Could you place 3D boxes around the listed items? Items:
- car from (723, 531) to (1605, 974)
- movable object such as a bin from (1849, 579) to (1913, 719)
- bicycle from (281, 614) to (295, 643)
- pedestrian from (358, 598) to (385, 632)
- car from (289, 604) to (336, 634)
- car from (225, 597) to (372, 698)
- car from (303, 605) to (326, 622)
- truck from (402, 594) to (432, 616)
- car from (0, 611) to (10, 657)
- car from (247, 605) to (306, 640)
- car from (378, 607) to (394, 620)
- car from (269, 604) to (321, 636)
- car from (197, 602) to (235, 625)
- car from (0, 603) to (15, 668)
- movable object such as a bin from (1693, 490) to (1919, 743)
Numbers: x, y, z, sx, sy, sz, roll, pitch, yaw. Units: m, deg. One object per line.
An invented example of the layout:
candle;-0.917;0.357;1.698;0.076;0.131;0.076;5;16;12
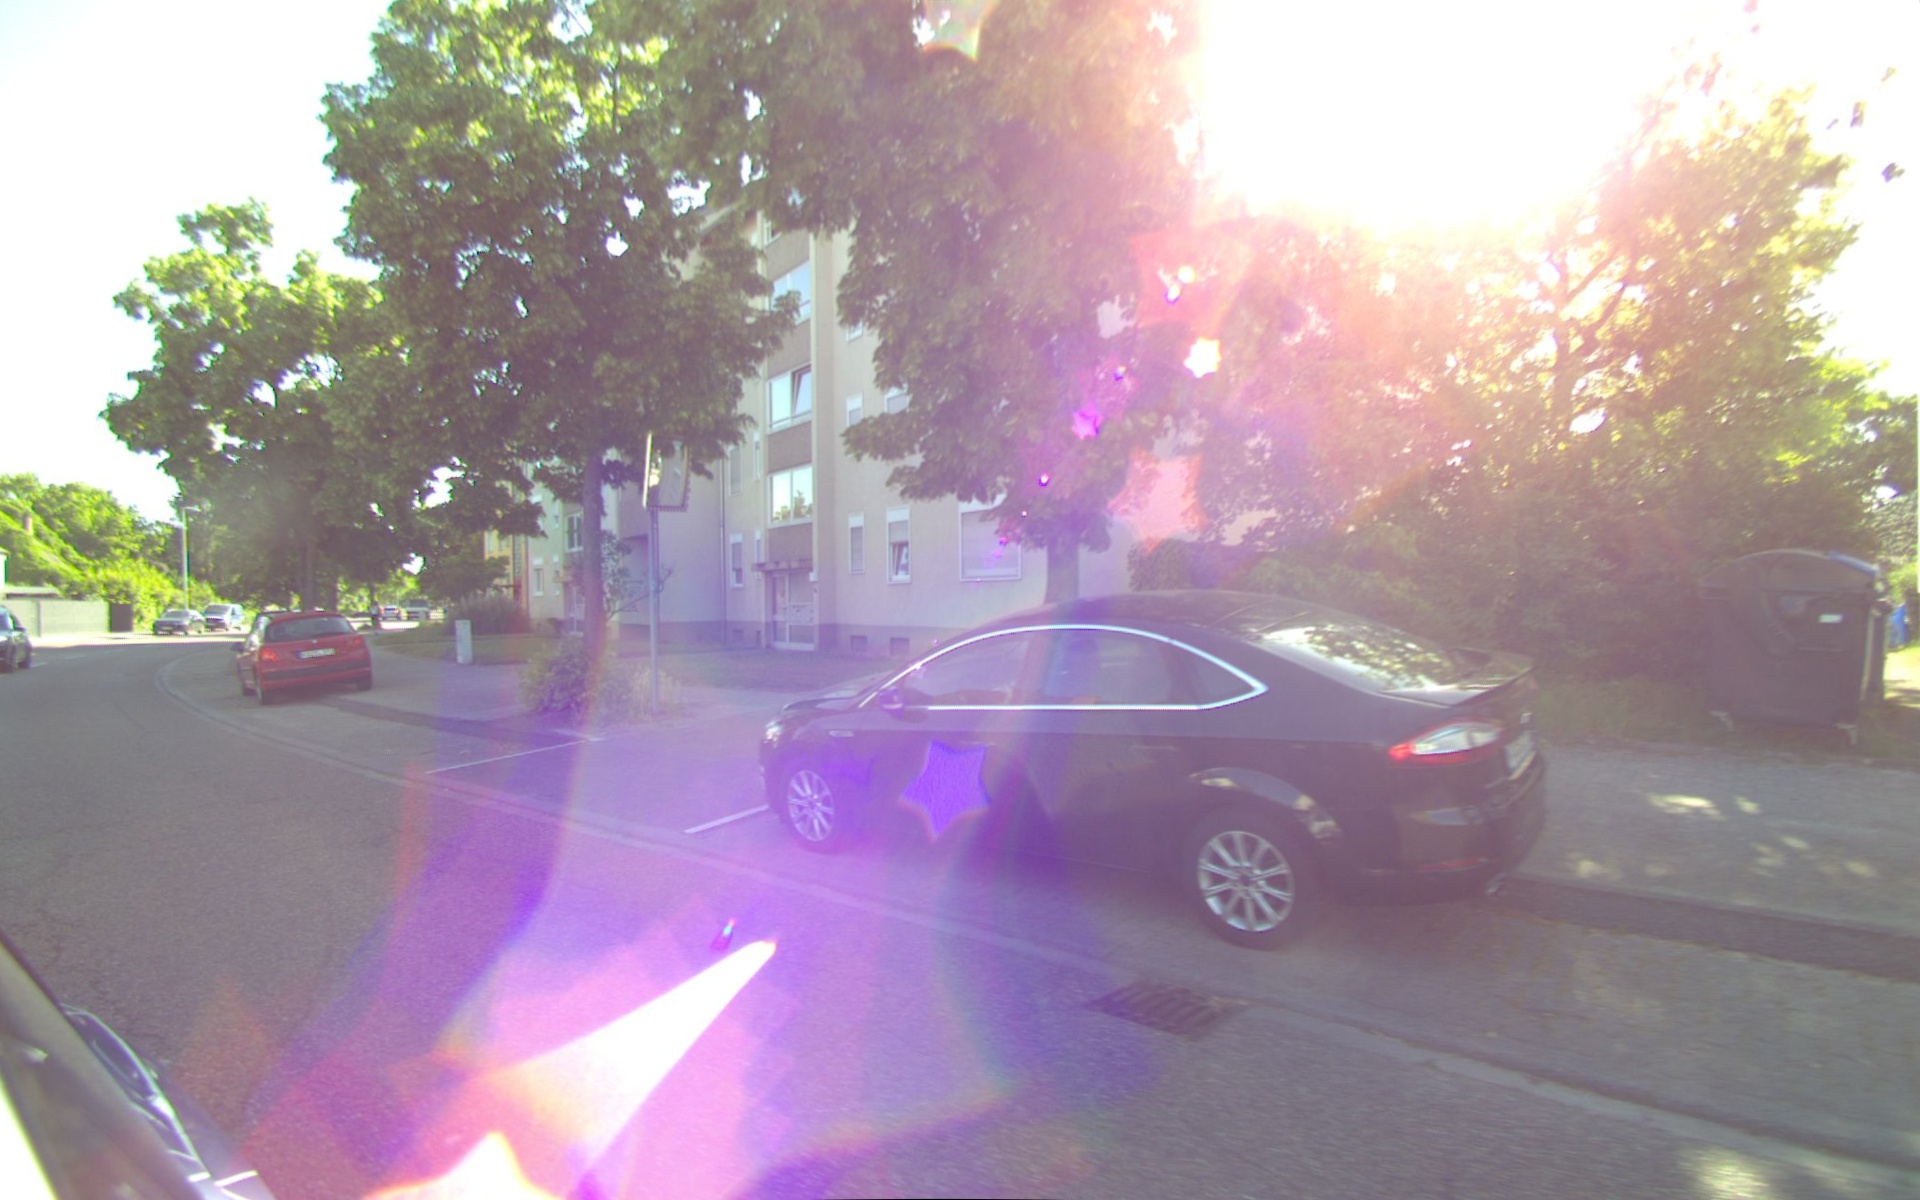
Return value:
car;0.837;0.533;5.693;4.538;1.504;1.706;-1;5;39
movable object such as a bin;7.347;0.378;8.083;0.350;1.082;0.369;-1;1;41
bicycle;-24.788;1.057;37.324;0.352;1.015;1.203;-2;-1;-32
pedestrian;-29.401;0.746;50.578;0.946;1.641;0.734;-1;0;-11
car;-35.482;1.019;55.544;1.624;1.551;3.716;-1;-1;-24
car;-12.051;0.785;18.327;1.637;1.504;3.914;-5;3;-41
car;-62.536;1.348;98.081;1.613;1.590;3.715;-1;-1;-28
truck;-61.104;0.572;113.939;2.373;2.384;4.540;-1;0;-20
car;-37.187;1.260;37.625;1.748;1.750;3.715;2;-2;-28
car;-31.579;1.036;46.820;1.624;1.551;3.716;-1;-1;-24
car;-66.415;1.578;117.128;1.521;1.476;3.715;-1;-1;-28
car;-34.004;1.002;51.839;1.624;1.551;3.716;-1;-1;-24
car;-52.463;0.955;71.402;1.613;1.590;3.715;-1;-1;-28
car;-25.136;0.900;25.601;1.557;1.590;3.710;0;-1;-39
movable object such as a bin;6.379;0.106;7.592;1.267;1.675;1.398;-1;0;42
